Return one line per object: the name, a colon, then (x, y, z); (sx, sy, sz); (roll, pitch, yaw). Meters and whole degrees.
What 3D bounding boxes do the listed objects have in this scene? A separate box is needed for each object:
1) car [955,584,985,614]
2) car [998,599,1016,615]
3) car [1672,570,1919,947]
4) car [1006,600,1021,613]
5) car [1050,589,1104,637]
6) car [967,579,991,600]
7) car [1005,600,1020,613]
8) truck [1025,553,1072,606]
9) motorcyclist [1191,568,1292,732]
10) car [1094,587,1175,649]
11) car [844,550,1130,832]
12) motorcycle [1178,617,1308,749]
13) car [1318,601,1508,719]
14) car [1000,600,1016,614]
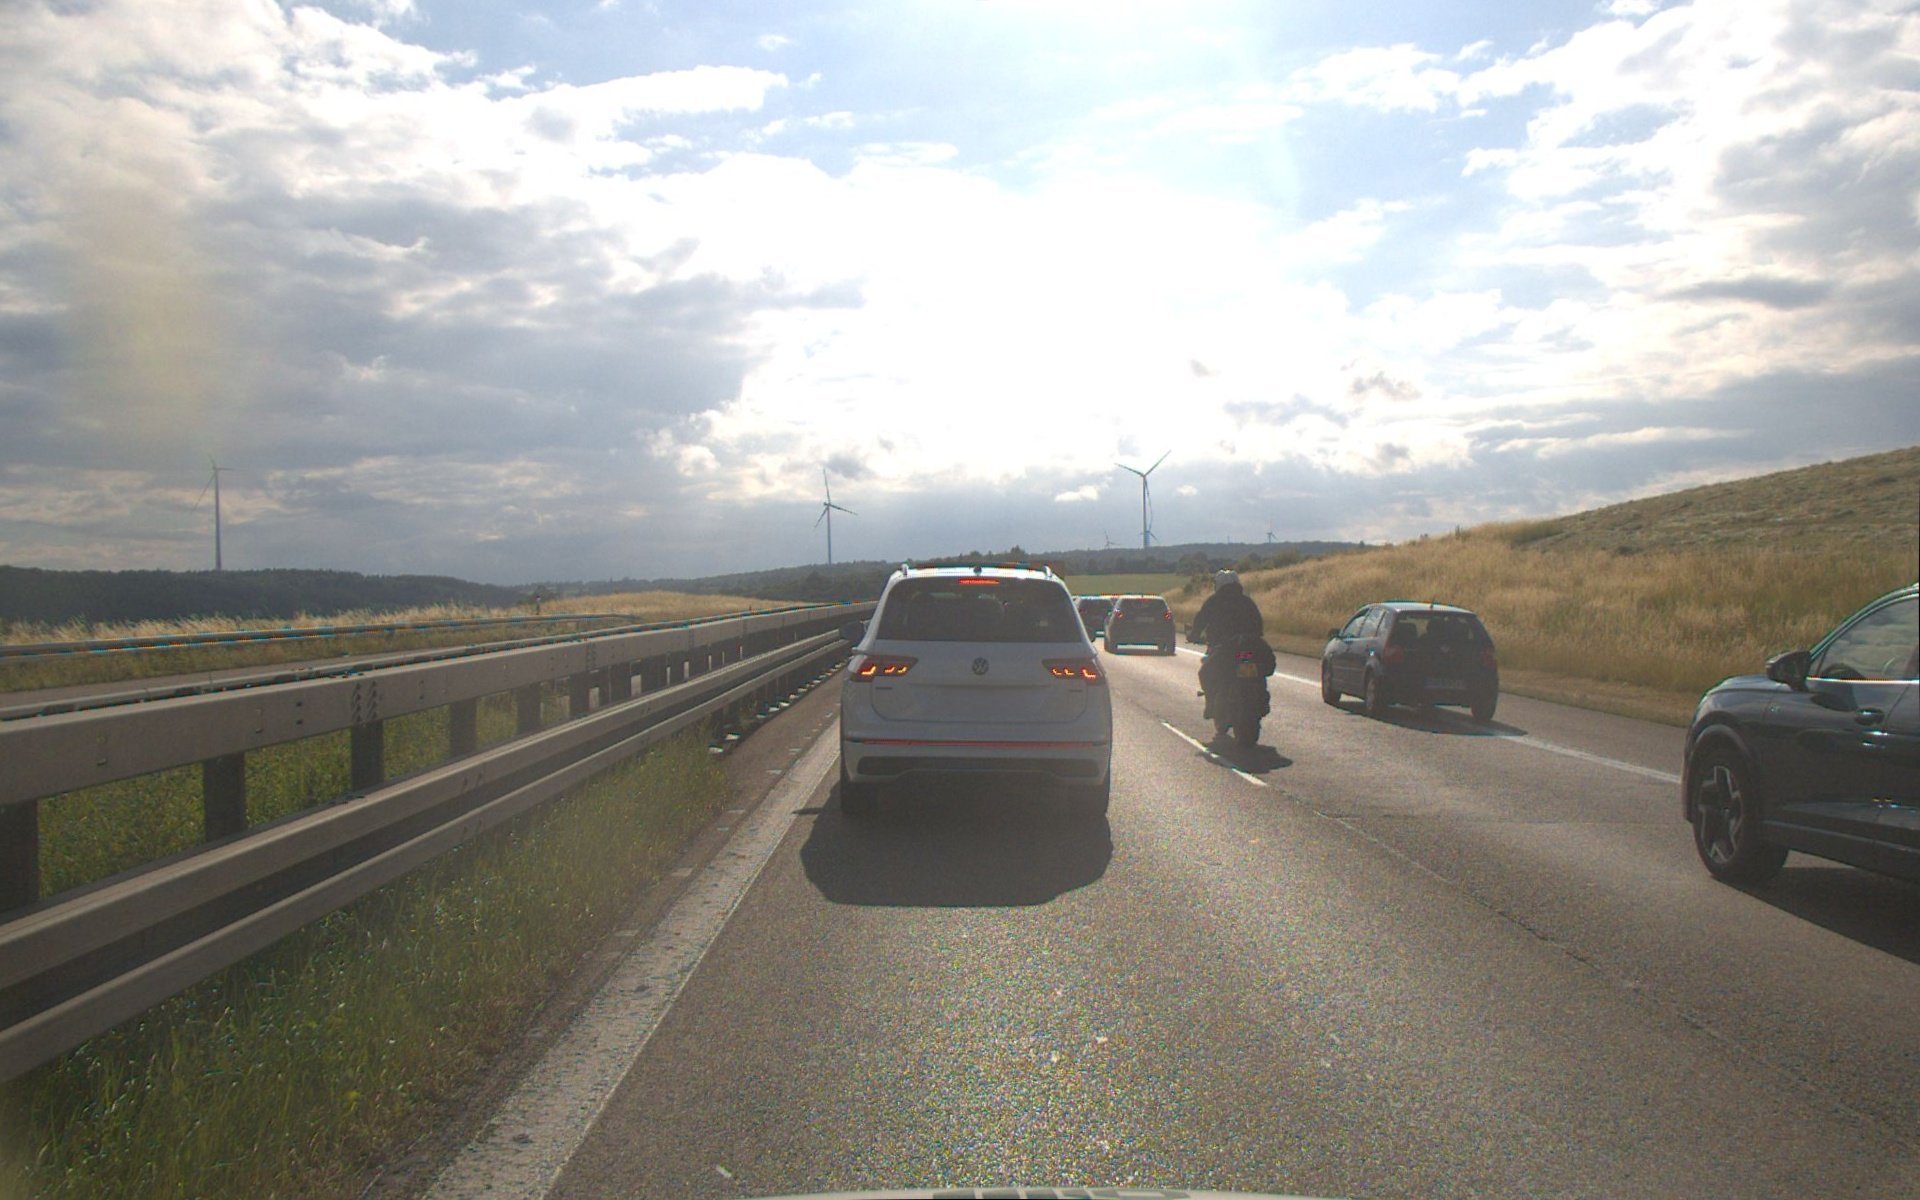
car: (0.553, -0.070, 95.474); (1.669, 1.679, 3.999); (0, 0, -1)
car: (4.765, 0.736, 168.930); (1.669, 1.573, 3.999); (0, 0, -1)
car: (5.063, 0.715, 7.486); (1.784, 1.629, 4.234); (2, 0, -1)
car: (6.446, 0.794, 199.753); (1.669, 1.573, 3.999); (0, 0, -1)
car: (4.276, 0.461, 61.057); (1.669, 1.679, 3.999); (0, 0, -1)
car: (1.430, -0.779, 125.479); (1.669, 1.573, 3.999); (0, 0, -1)
car: (6.550, 0.804, 205.695); (1.669, 1.573, 3.999); (0, 0, -1)
truck: (6.432, -1.508, 121.894); (3.118, 3.656, 11.132); (0, 1, 1)
motorcyclist: (2.807, 0.488, 16.593); (0.832, 1.587, 0.934); (0, 0, -1)
car: (4.602, 0.469, 44.083); (1.669, 1.573, 3.999); (0, 0, -1)
car: (0.146, 0.555, 12.066); (1.734, 1.705, 3.999); (0, 0, -1)
motorcycle: (2.802, 0.794, 16.637); (0.877, 1.211, 2.256); (0, 0, -1)
car: (5.993, 0.740, 22.262); (1.572, 1.445, 3.672); (0, 0, 0)
car: (5.193, 0.754, 179.306); (1.669, 1.573, 3.999); (0, 0, -1)
